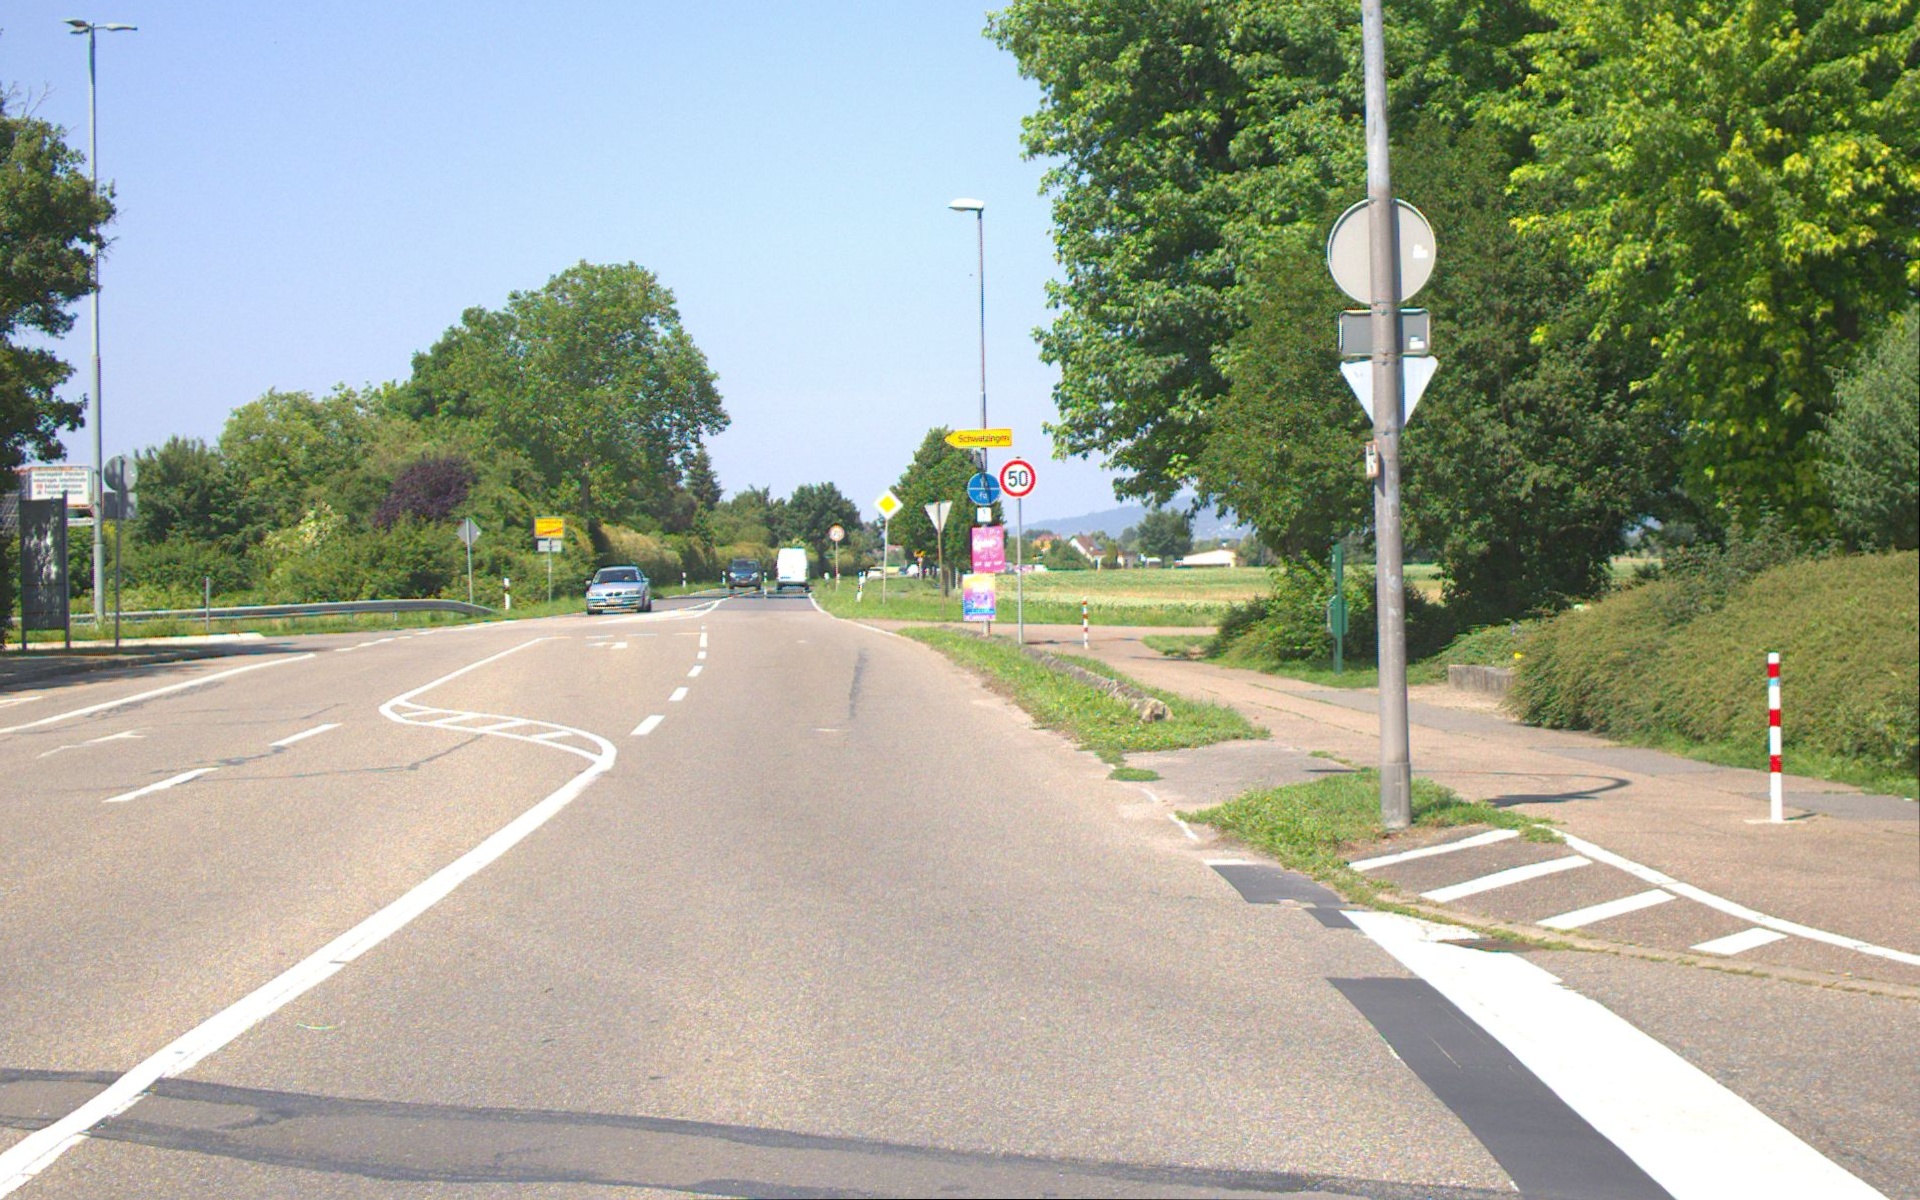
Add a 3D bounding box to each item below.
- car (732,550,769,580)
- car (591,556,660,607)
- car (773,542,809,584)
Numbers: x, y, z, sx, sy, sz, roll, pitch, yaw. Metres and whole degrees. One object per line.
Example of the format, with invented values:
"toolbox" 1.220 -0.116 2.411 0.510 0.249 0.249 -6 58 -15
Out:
"car" -13.701 -2.274 225.119 2.144 1.944 5.247 0 0 -1
"car" -10.151 -0.580 104.582 1.636 1.466 4.416 -1 1 0
"car" -10.785 -2.340 219.079 1.993 2.642 4.001 -1 1 -7
